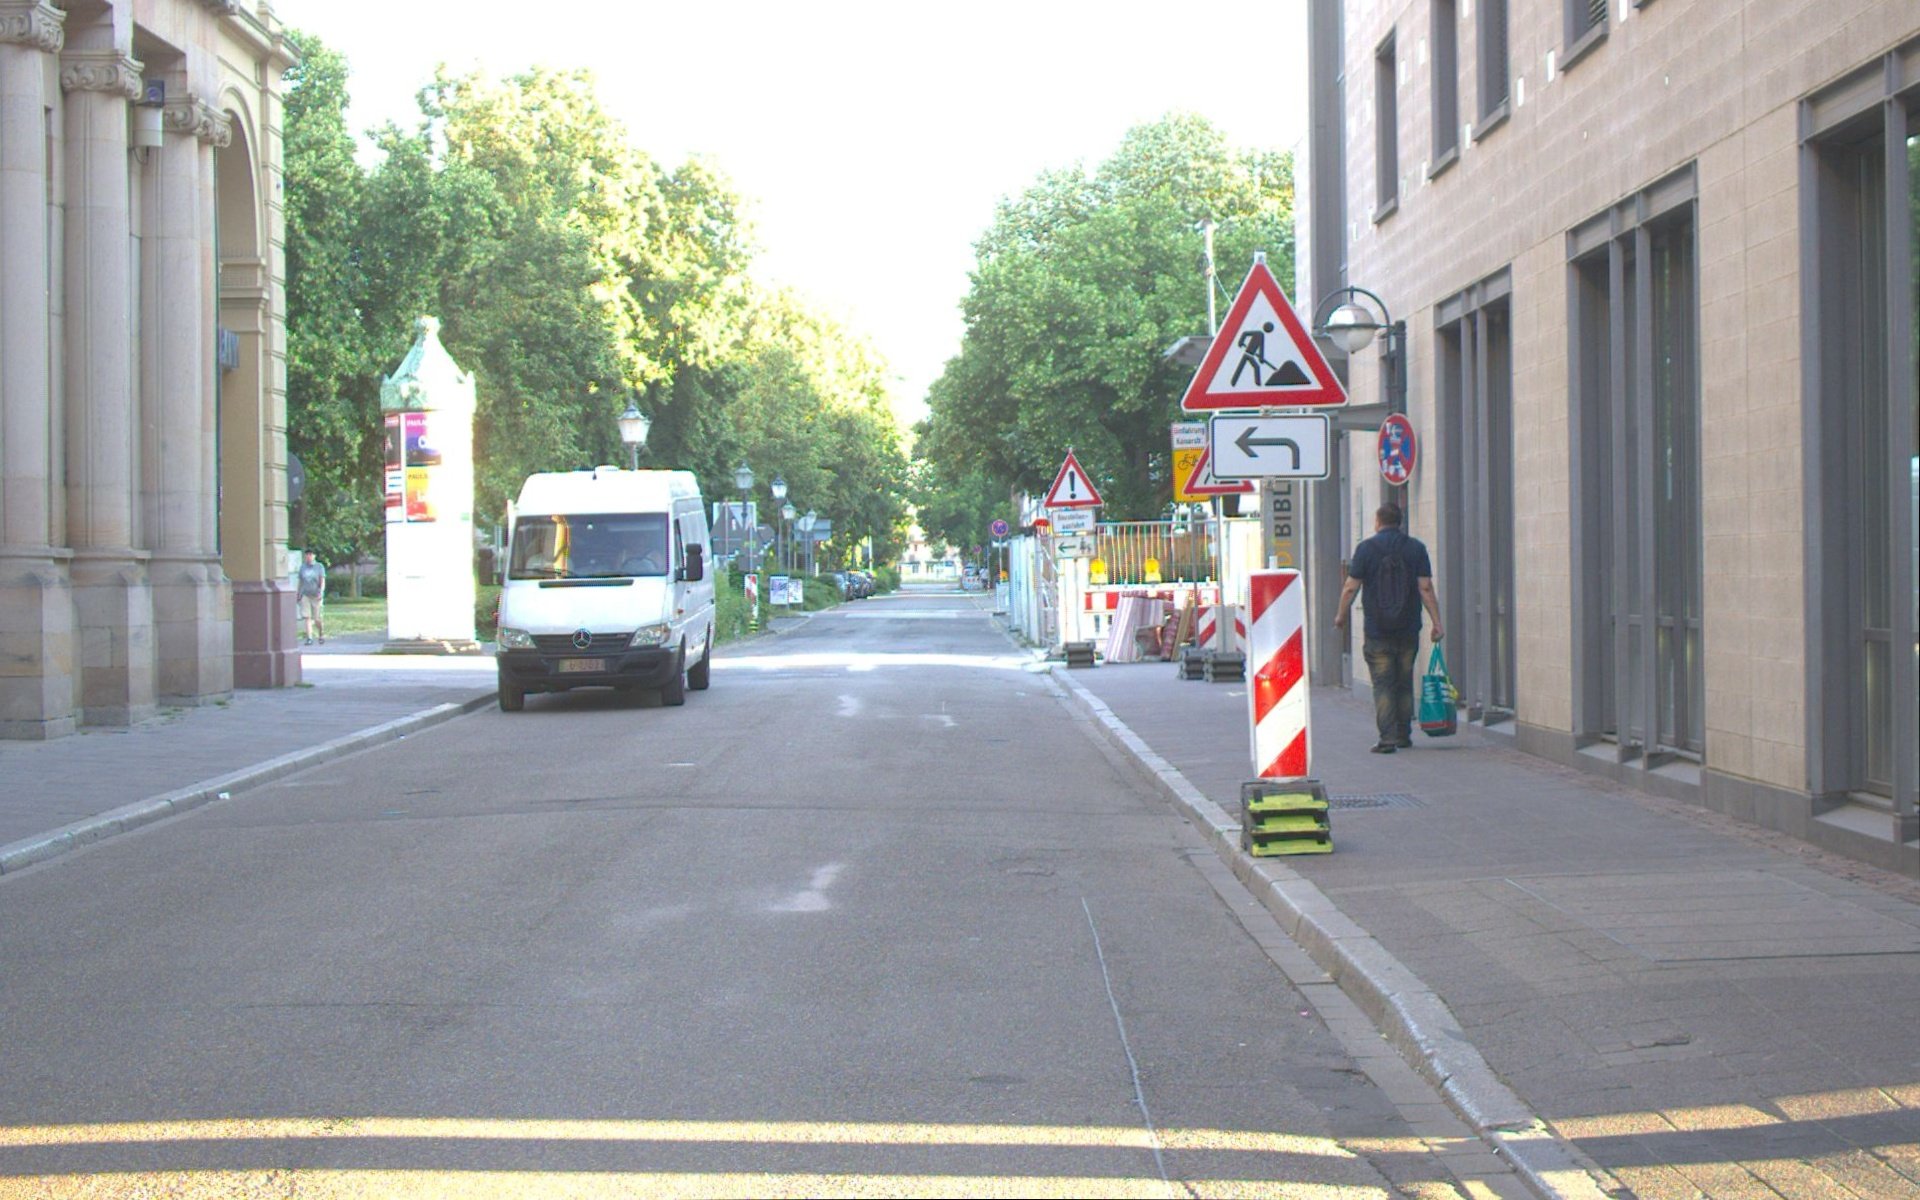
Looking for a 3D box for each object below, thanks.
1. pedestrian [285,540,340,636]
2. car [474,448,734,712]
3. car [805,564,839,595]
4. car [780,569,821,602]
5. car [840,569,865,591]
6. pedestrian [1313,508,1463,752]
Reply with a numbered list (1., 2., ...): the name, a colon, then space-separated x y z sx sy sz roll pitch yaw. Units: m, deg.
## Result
1. pedestrian: -11.577 -0.217 61.505 0.746 1.696 0.702 -1 1 7
2. car: -3.775 -0.251 37.641 1.996 2.503 6.470 -4 1 0
3. car: -6.487 -0.978 161.766 1.468 1.399 3.679 0 1 -1
4. car: -6.313 -0.590 136.392 1.468 1.251 3.679 0 1 -1
5. car: -6.703 -1.264 215.141 1.468 1.399 3.679 0 1 -1
6. pedestrian: 3.064 0.205 24.686 0.923 1.696 0.868 -2 1 -1
